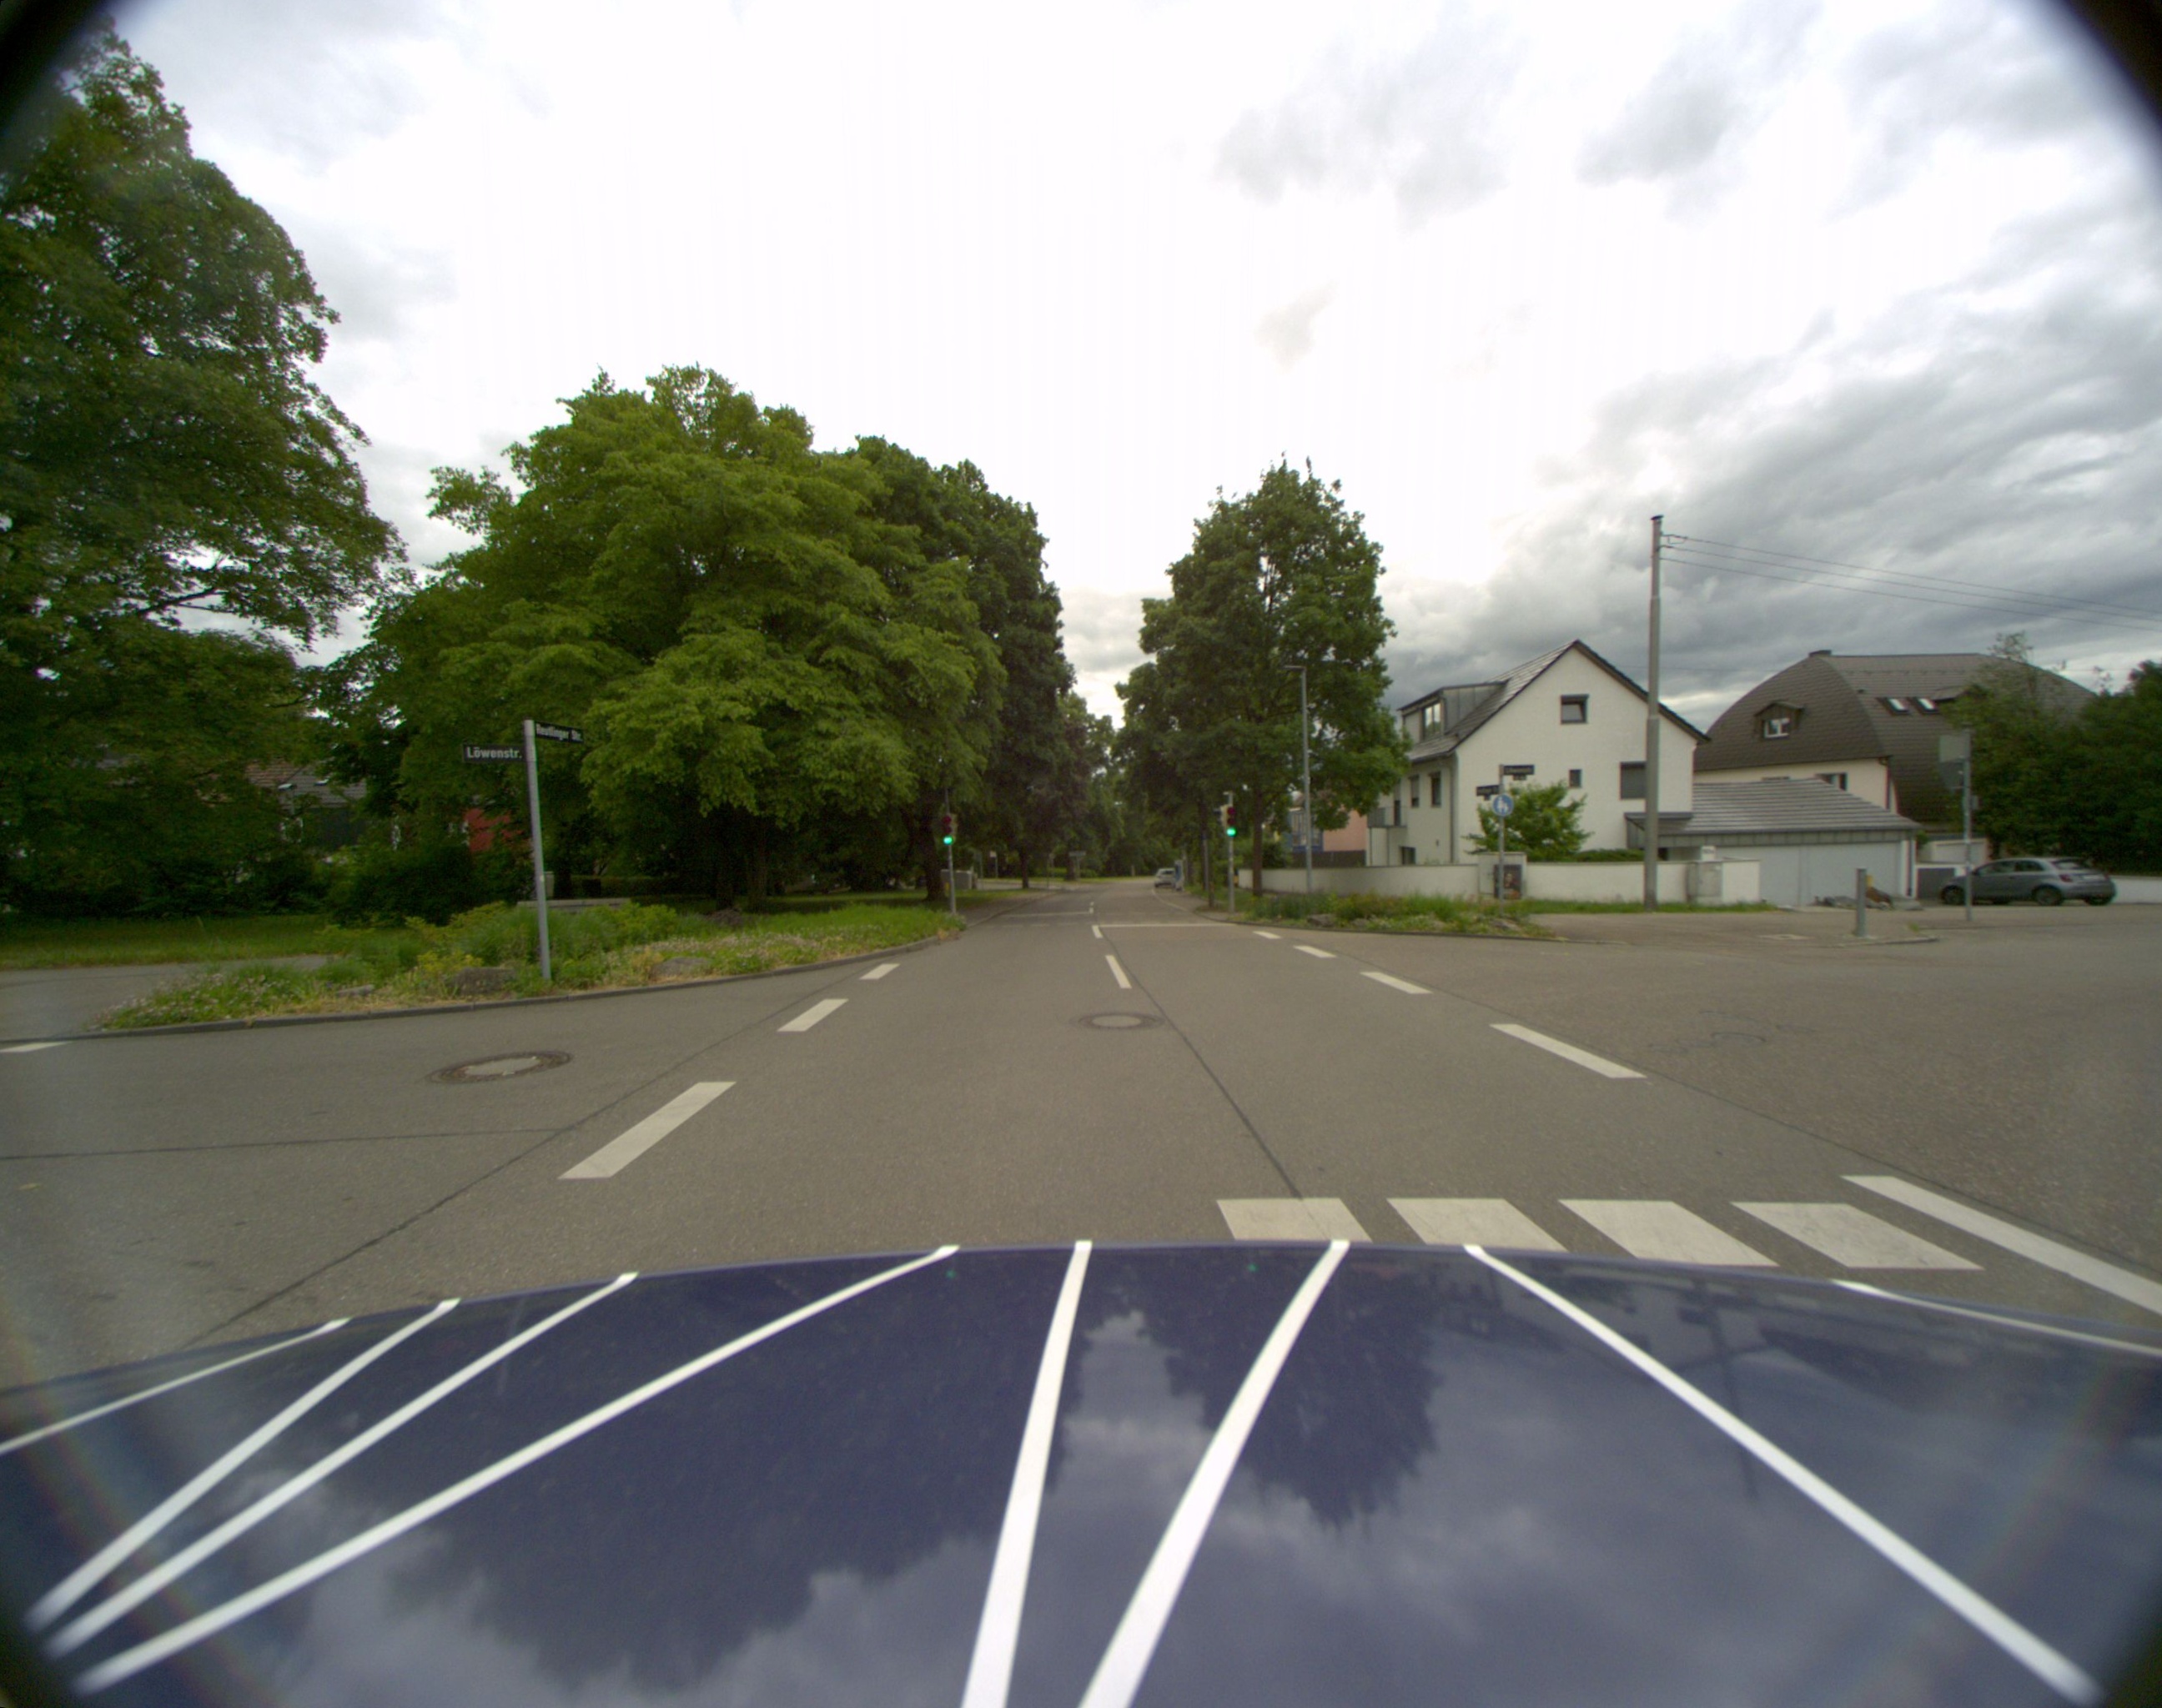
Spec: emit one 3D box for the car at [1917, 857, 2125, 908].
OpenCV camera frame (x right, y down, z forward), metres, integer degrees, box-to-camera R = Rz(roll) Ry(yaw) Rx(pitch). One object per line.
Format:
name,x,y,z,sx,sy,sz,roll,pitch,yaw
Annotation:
car,29.545,0.916,24.093,1.691,1.487,3.860,0,-3,-1

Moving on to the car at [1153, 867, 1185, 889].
car,7.012,1.861,60.195,1.996,1.543,4.004,1,1,15
